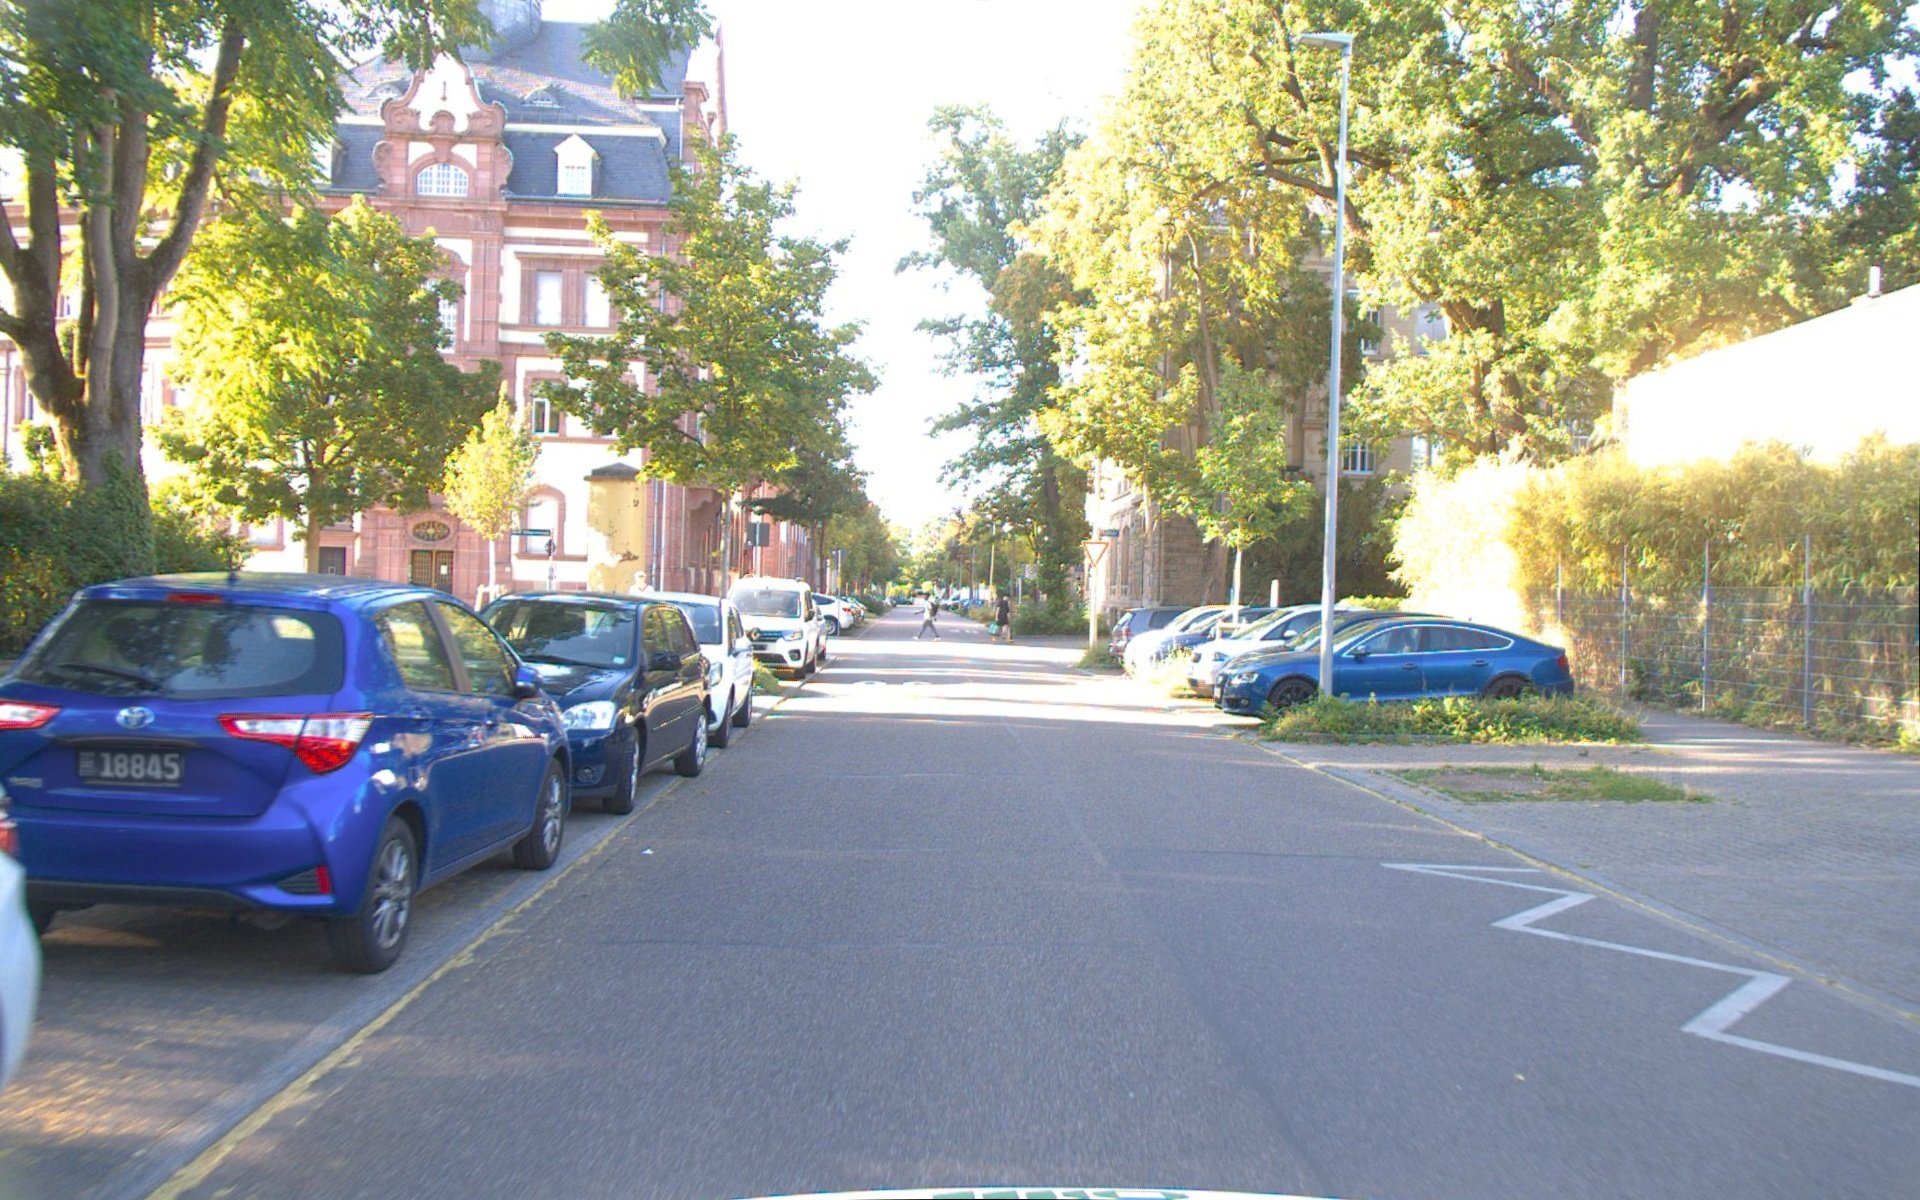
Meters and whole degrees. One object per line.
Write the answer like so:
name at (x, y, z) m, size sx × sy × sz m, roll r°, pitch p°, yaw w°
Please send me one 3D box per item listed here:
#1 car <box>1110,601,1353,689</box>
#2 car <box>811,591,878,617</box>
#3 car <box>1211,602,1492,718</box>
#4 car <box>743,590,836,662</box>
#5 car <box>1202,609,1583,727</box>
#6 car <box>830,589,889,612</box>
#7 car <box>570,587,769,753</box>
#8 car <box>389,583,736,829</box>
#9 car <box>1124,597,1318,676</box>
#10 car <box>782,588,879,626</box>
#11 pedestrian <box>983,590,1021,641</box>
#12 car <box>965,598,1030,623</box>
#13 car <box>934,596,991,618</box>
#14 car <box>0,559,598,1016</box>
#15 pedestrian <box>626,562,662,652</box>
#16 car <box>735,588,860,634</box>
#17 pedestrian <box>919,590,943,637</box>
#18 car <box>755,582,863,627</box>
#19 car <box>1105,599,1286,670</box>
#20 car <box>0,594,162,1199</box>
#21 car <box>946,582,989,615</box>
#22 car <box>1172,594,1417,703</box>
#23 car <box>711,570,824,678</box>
car at (5.304, 0.866, 32.693) m, size 4.403 × 1.576 × 1.889 m, roll 2°, pitch 0°, yaw -5°
car at (-7.753, 0.270, 111.334) m, size 4.394 × 1.636 × 1.841 m, roll 2°, pitch 0°, yaw -4°
car at (5.679, 0.850, 24.258) m, size 3.609 × 1.550 × 1.790 m, roll 1°, pitch 0°, yaw -5°
car at (-3.940, 0.570, 38.865) m, size 1.745 × 1.531 × 4.551 m, roll 2°, pitch 0°, yaw -1°
car at (5.575, 0.868, 21.745) m, size 4.495 × 1.439 × 1.922 m, roll -1°, pitch -1°, yaw -1°
car at (-7.641, 0.045, 125.621) m, size 4.394 × 1.636 × 1.841 m, roll 2°, pitch 0°, yaw -4°
car at (-3.014, 0.666, 17.830) m, size 1.560 × 1.553 × 3.863 m, roll 2°, pitch 0°, yaw -2°
car at (-2.798, 0.666, 12.497) m, size 1.519 × 1.520 × 3.944 m, roll 2°, pitch 0°, yaw 2°
car at (5.510, 0.753, 35.254) m, size 3.872 × 1.543 × 1.675 m, roll 2°, pitch 0°, yaw 1°
car at (-6.017, 0.312, 77.224) m, size 4.394 × 1.636 × 1.841 m, roll 2°, pitch 0°, yaw -4°
pedestrian at (1.598, 0.601, 63.458) m, size 1.051 × 1.890 × 0.991 m, roll 2°, pitch 0°, yaw -33°
car at (2.650, 0.738, 117.689) m, size 4.394 × 1.636 × 1.841 m, roll 2°, pitch 0°, yaw -4°
car at (0.169, 0.565, 134.342) m, size 4.492 × 1.636 × 1.841 m, roll 2°, pitch 0°, yaw -4°
car at (-2.914, 0.649, 7.661) m, size 1.605 × 1.521 × 3.705 m, roll 3°, pitch 0°, yaw -1°
pedestrian at (-6.529, 0.137, 34.201) m, size 0.587 × 1.815 × 0.945 m, roll 1°, pitch 0°, yaw -5°
car at (-6.298, 0.422, 64.533) m, size 4.746 × 1.622 × 1.841 m, roll 2°, pitch 0°, yaw -4°
pedestrian at (-1.033, 0.476, 58.631) m, size 0.770 × 1.634 × 0.719 m, roll 1°, pitch -1°, yaw -8°
car at (-6.284, 0.182, 69.142) m, size 4.394 × 1.747 × 1.841 m, roll 2°, pitch 0°, yaw -4°
car at (5.336, 0.801, 37.821) m, size 3.873 × 1.543 × 1.873 m, roll 1°, pitch -2°, yaw 0°
car at (-2.725, 0.682, 1.881) m, size 1.656 × 1.430 × 3.974 m, roll 3°, pitch 0°, yaw -1°
car at (0.815, -0.153, 190.796) m, size 4.788 × 3.681 × 1.841 m, roll 2°, pitch 0°, yaw -3°
car at (5.328, 0.766, 26.519) m, size 3.431 × 1.612 × 1.757 m, roll 1°, pitch 0°, yaw -12°
car at (-3.623, 0.413, 31.827) m, size 1.745 × 1.873 × 4.551 m, roll 2°, pitch 0°, yaw -2°
